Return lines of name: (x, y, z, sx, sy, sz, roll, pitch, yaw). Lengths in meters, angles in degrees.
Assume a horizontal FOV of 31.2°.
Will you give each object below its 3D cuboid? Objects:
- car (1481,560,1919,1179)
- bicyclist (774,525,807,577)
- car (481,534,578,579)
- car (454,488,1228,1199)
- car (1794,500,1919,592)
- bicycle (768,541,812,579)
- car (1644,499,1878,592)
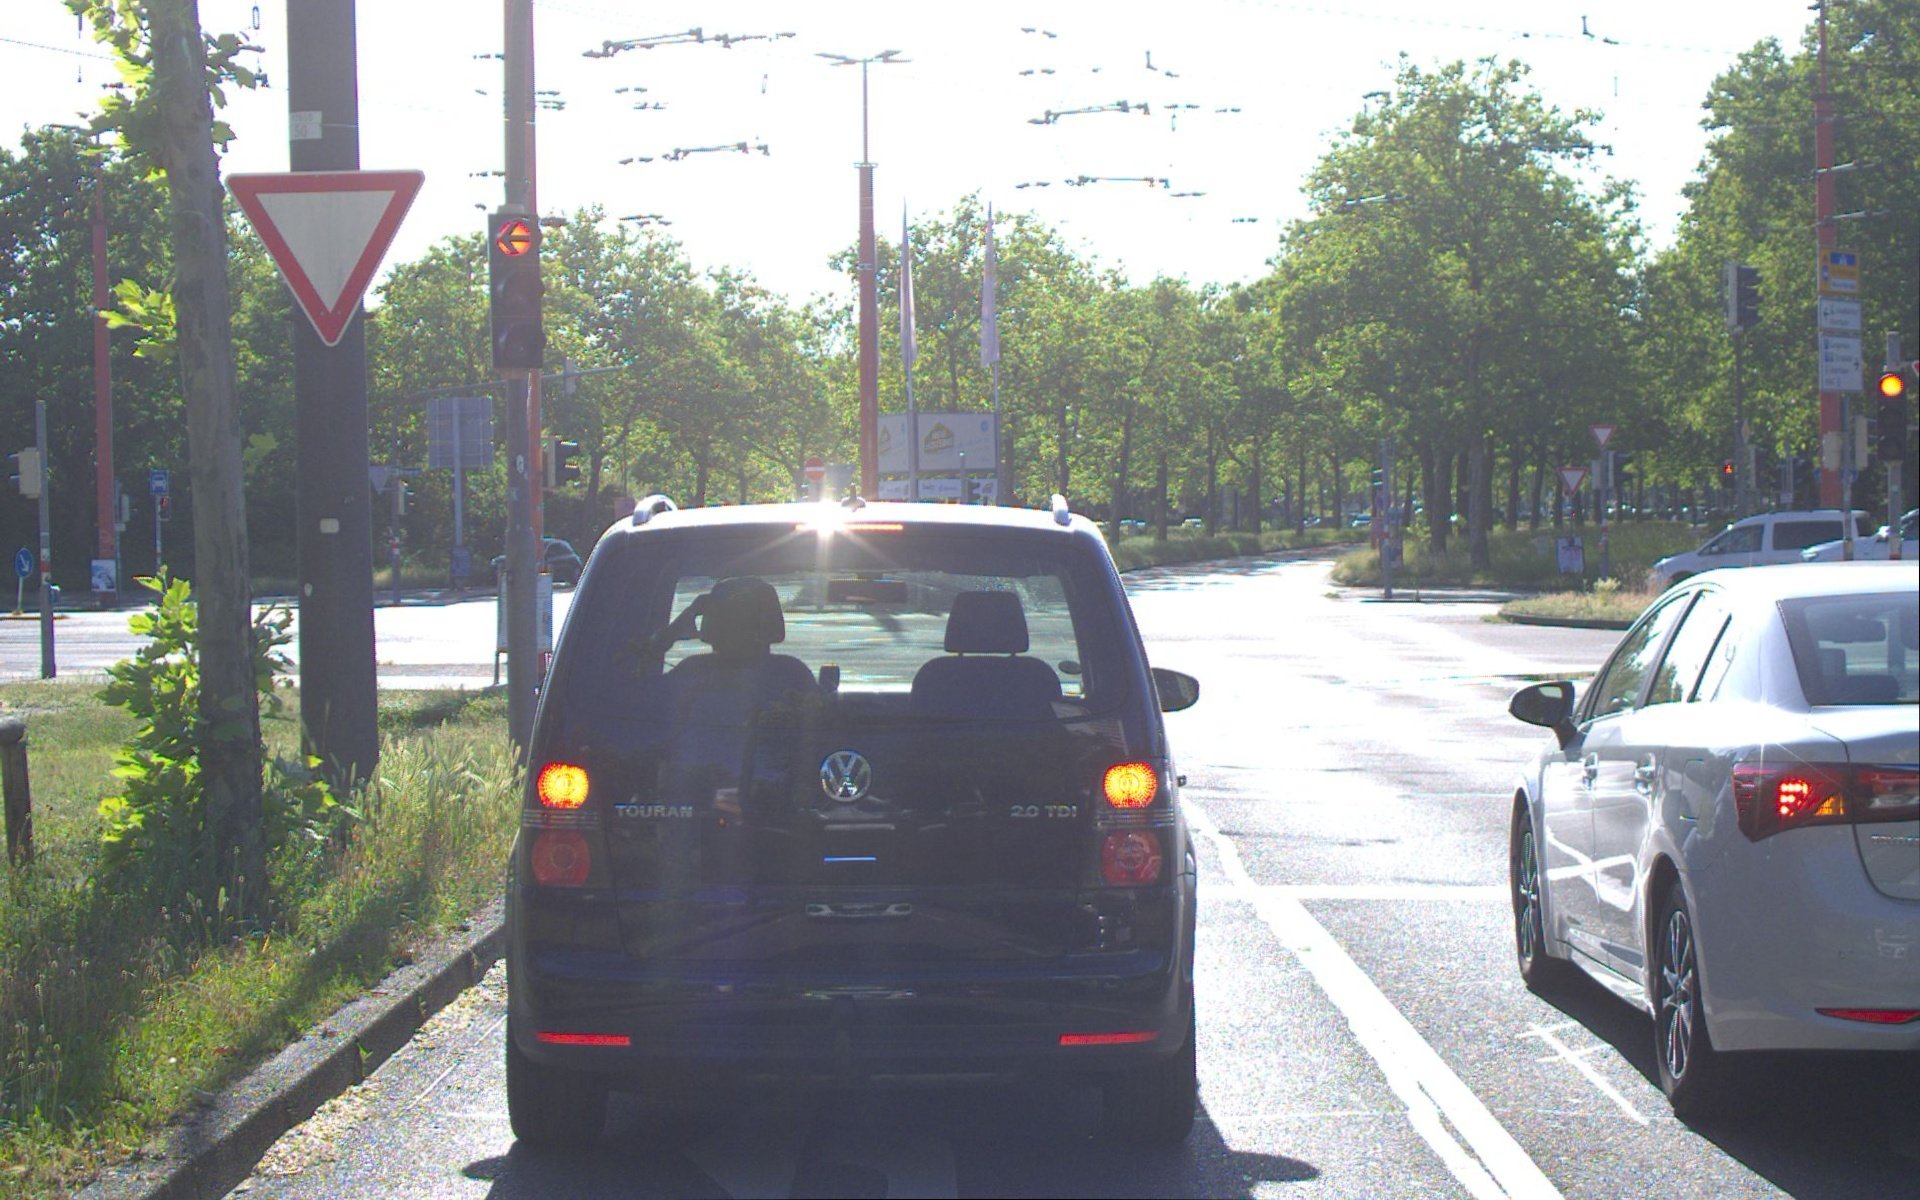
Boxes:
car: (2.758, 0.616, 10.156, 1.799, 1.435, 4.326, 1, 1, 1)
bicyclist: (-6.265, -1.822, 127.122, 0.977, 1.897, 1.050, 0, 1, 10)
car: (-13.533, -1.387, 108.261, 1.652, 1.398, 4.130, 0, 1, 14)
car: (-0.253, 0.535, 9.978, 1.738, 1.597, 4.326, 1, 1, 1)
car: (17.435, -0.968, 61.432, 4.666, 1.620, 1.654, 1, 1, 26)
bicycle: (-6.271, -1.469, 127.087, 0.977, 1.384, 2.978, 0, 1, 10)
car: (15.392, -1.051, 66.071, 4.124, 1.744, 1.654, 1, 1, 25)
